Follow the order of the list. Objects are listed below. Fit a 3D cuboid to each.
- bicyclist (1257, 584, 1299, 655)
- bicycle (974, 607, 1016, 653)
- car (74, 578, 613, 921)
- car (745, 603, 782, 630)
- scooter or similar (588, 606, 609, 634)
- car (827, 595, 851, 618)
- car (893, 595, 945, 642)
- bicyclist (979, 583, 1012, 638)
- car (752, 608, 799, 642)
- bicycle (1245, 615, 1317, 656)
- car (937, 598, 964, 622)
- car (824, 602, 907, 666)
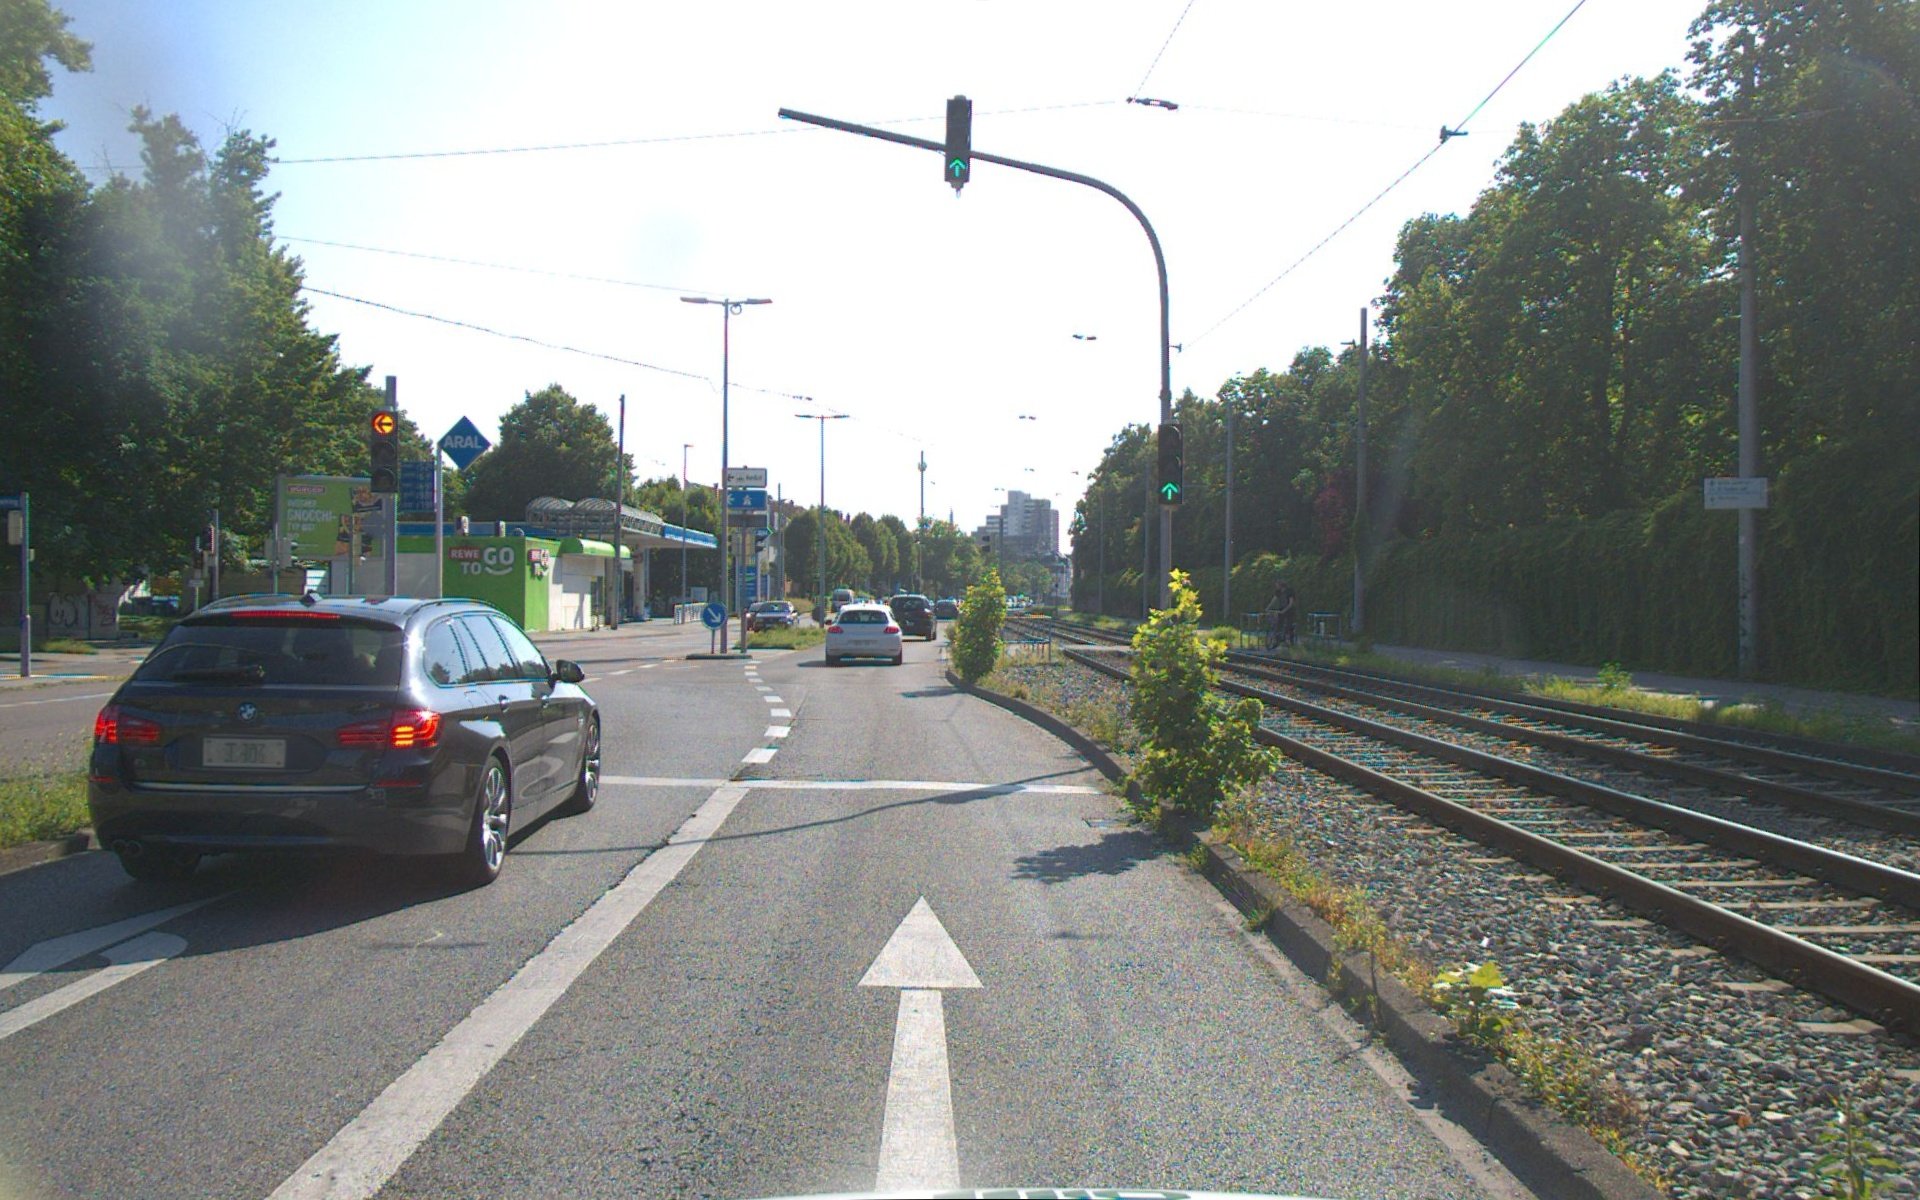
[{"bbox_3d":[9.196,0.560,47.788,1.012,2.028,0.947,0,0,24],"label":"bicyclist"},{"bbox_3d":[0.930,0.790,43.475,0.629,1.174,1.938,1,-1,15],"label":"bicycle"},{"bbox_3d":[-3.286,0.686,9.861,1.726,1.511,4.641,2,0,-4],"label":"car"},{"bbox_3d":[-10.432,0.865,88.040,1.541,1.441,3.333,0,0,0],"label":"car"},{"bbox_3d":[-16.585,0.908,75.992,0.521,1.194,1.310,5,0,3],"label":"scooter or similar"},{"bbox_3d":[-12.597,0.681,172.873,1.952,2.418,4.540,0,0,3],"label":"car"},{"bbox_3d":[-1.525,0.676,60.879,1.690,1.620,3.598,2,0,-4],"label":"car"},{"bbox_3d":[0.939,0.277,43.476,0.629,1.441,1.013,0,0,15],"label":"bicyclist"},{"bbox_3d":[-7.988,1.081,71.845,1.619,1.420,4.133,0,0,-1],"label":"car"},{"bbox_3d":[9.272,1.011,47.752,1.882,1.134,0.947,0,0,24],"label":"bicycle"},{"bbox_3d":[-0.649,0.638,111.165,1.713,1.511,3.600,2,0,-1],"label":"car"},{"bbox_3d":[-2.189,0.773,39.089,1.744,1.380,3.600,2,0,0],"label":"car"}]
